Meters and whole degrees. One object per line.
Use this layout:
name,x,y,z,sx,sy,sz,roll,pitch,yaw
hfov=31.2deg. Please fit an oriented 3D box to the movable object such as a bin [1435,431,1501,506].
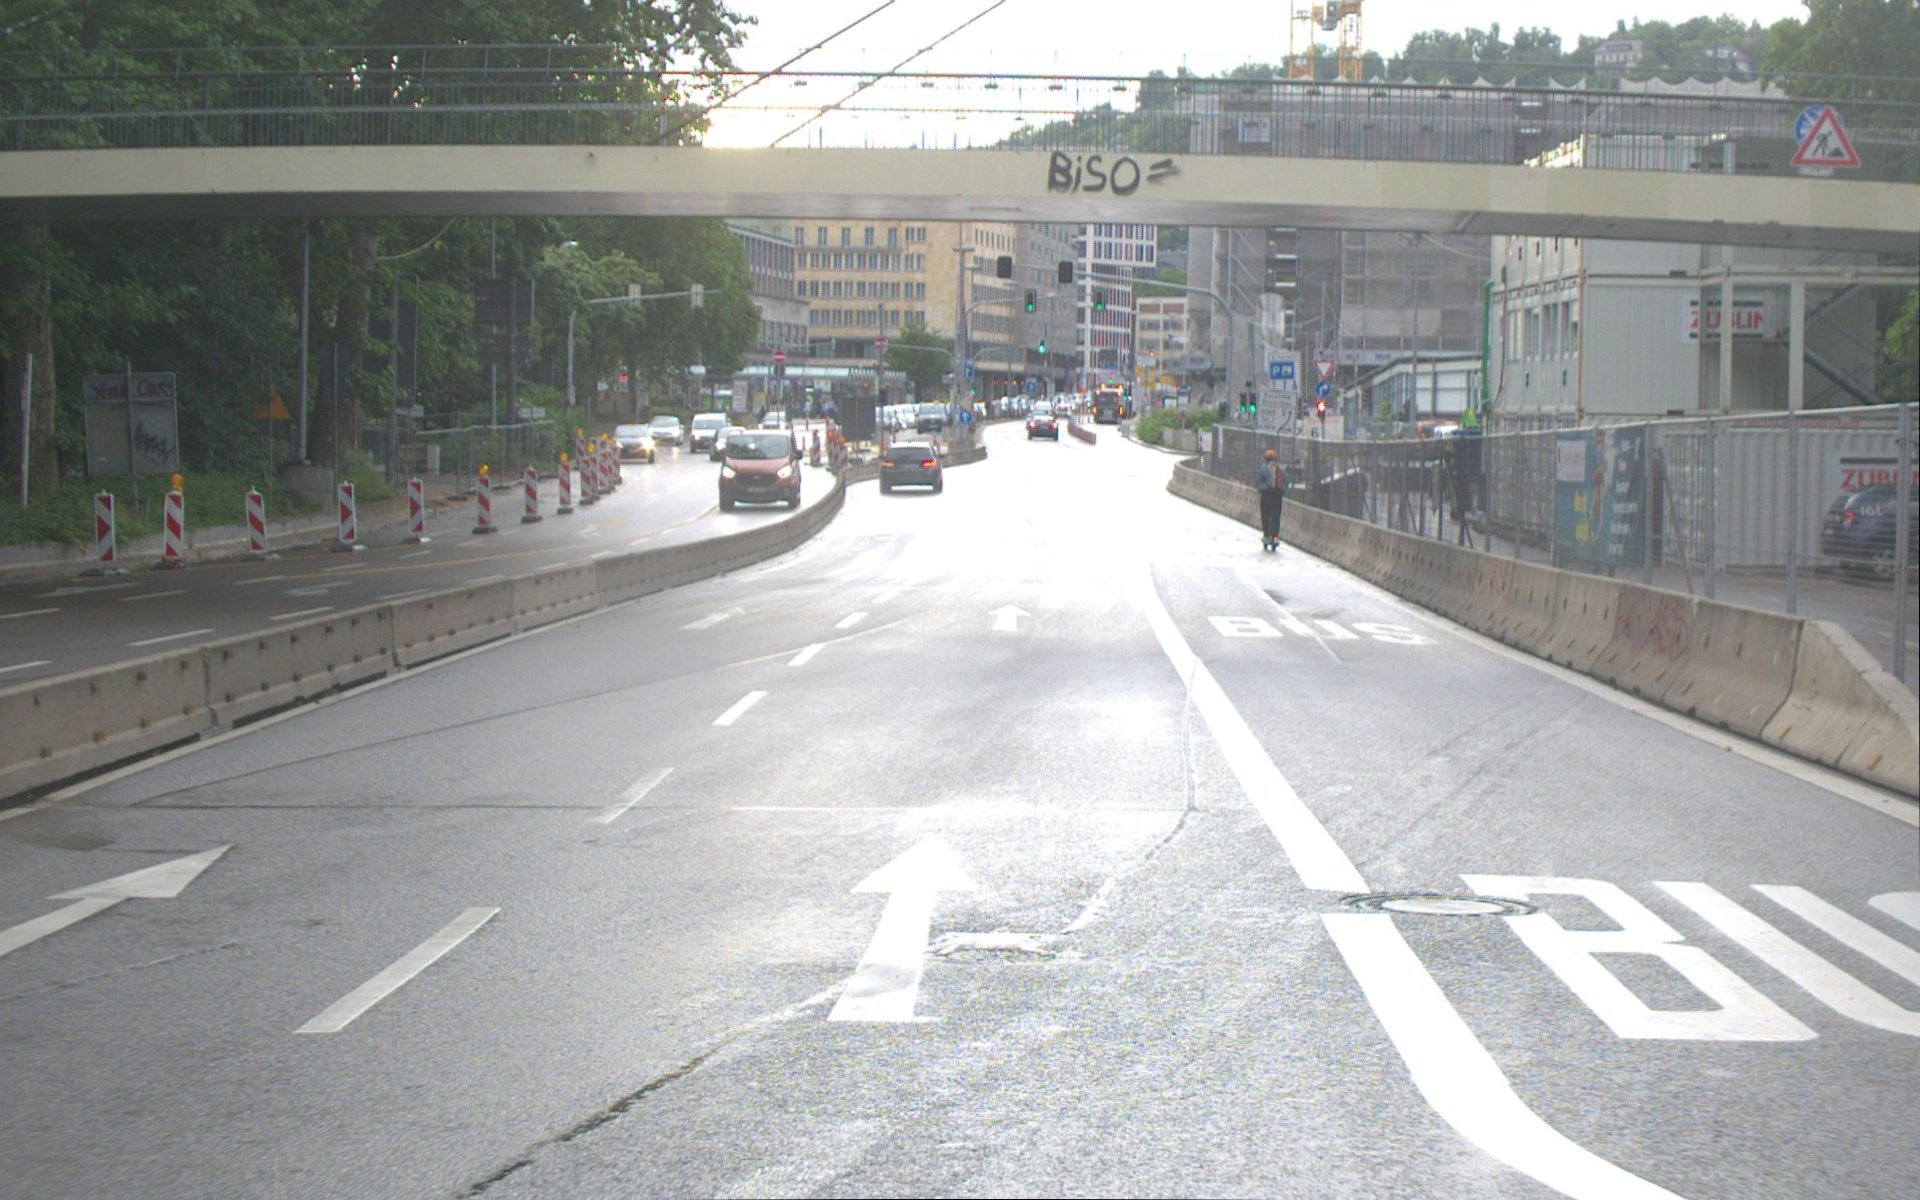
movable object such as a bin,15.273,-3.971,103.460,1.456,2.195,1.266,0,4,-23

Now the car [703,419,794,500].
car,-5.538,-3.634,89.496,2.030,1.930,5.045,-1,1,-7

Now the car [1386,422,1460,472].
car,18.939,-6.274,140.747,1.911,1.968,5.164,1,3,-4

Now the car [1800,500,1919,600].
car,17.016,-0.850,59.315,4.542,1.623,1.788,1,3,-1

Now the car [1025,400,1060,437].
car,4.929,-10.836,205.428,1.993,2.007,4.000,-1,1,2

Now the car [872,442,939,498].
car,-1.629,-3.815,101.122,1.902,1.522,4.178,-1,1,-2

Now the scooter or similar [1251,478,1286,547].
scooter or similar,6.064,-1.728,67.649,0.597,1.314,1.667,1,3,3

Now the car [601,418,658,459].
car,-13.801,-6.745,143.314,2.030,1.647,4.321,0,3,-10

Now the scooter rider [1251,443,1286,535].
scooter rider,6.067,-2.194,67.608,0.597,1.779,0.997,1,3,3
